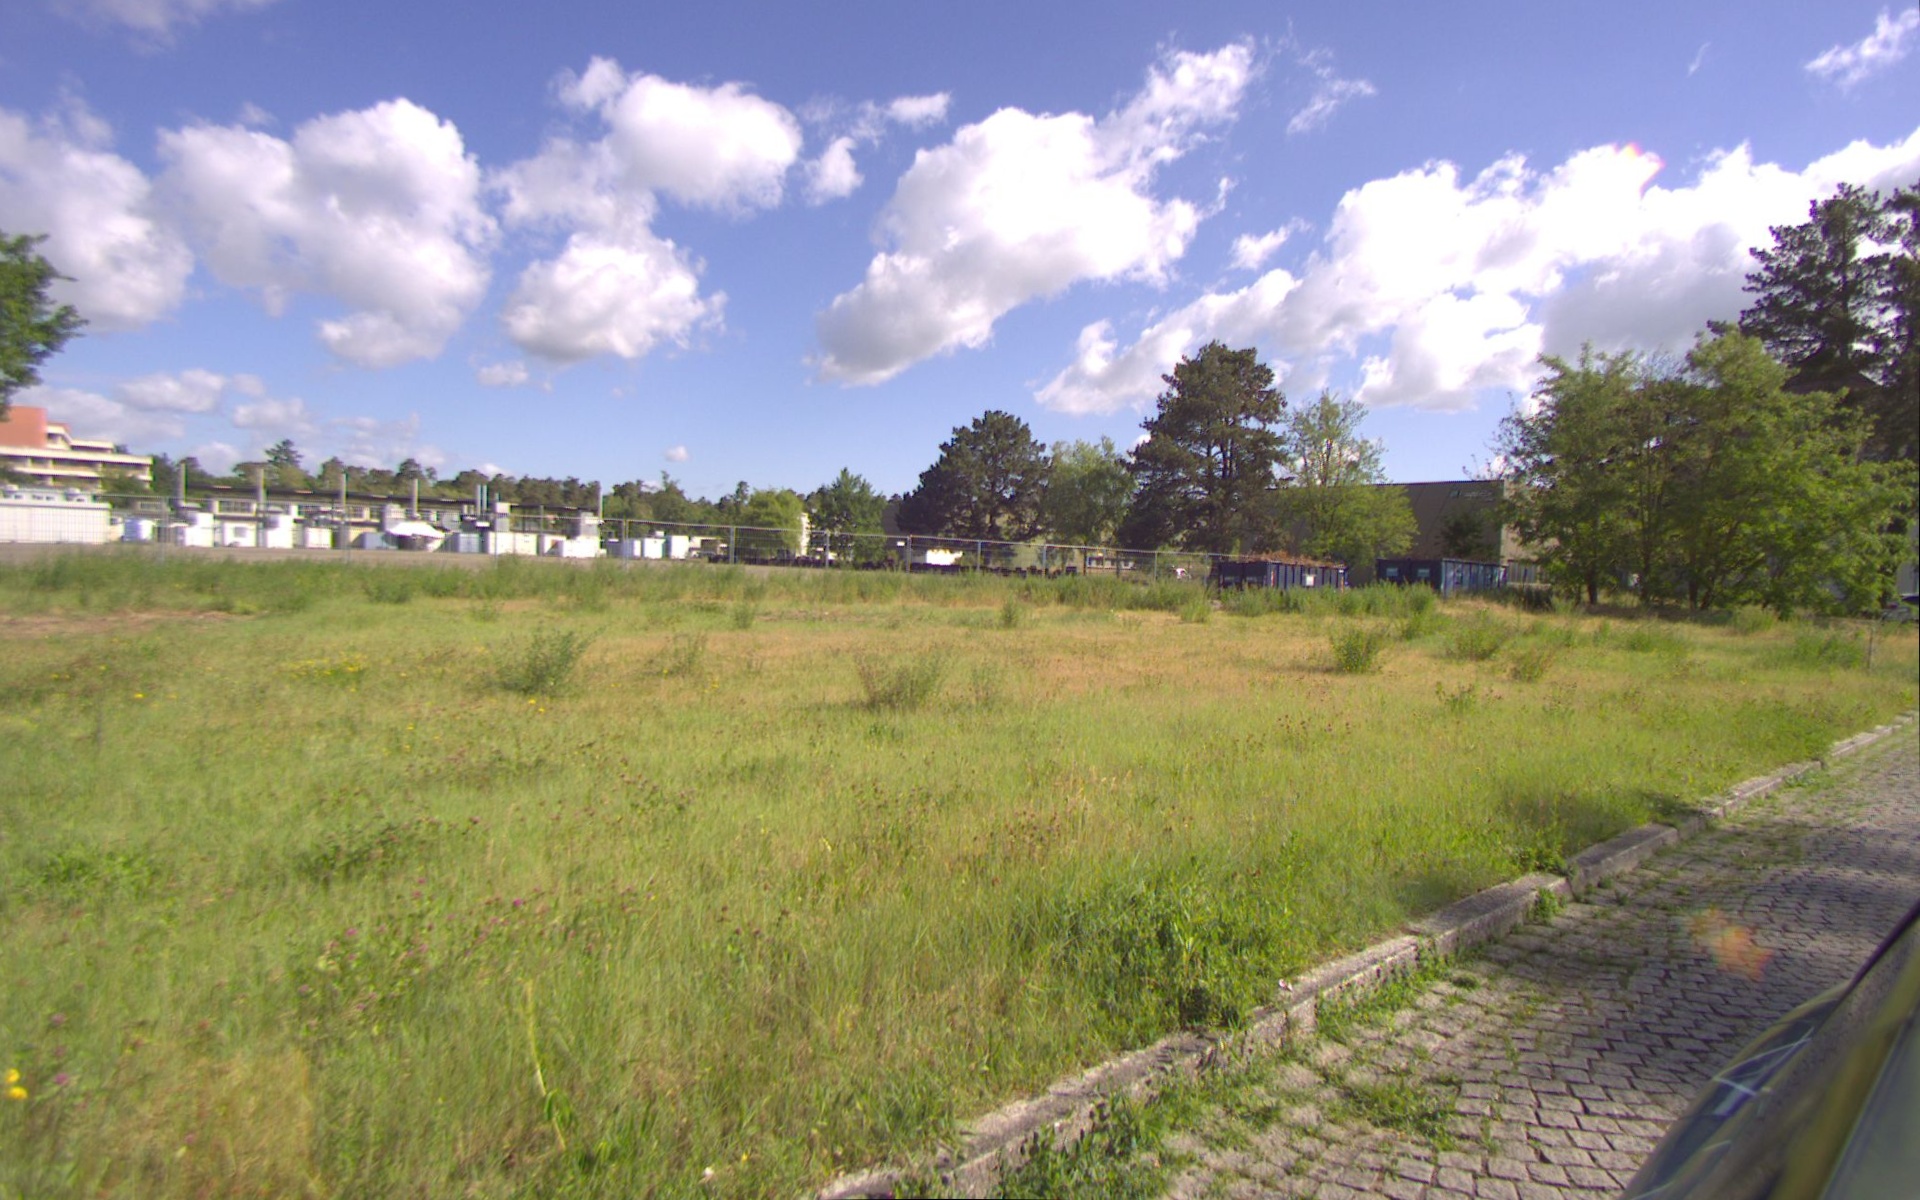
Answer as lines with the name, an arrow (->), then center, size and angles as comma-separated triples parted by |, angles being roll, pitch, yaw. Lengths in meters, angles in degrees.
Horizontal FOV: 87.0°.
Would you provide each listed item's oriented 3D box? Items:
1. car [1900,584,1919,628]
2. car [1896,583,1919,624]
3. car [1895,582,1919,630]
car -> 34.274, 0.398, 33.746 | 1.812, 1.458, 4.015 | 0, 6, -41
car -> 37.886, 0.310, 37.452 | 1.807, 1.482, 4.523 | 0, 6, -42
car -> 32.262, 0.353, 31.947 | 1.721, 1.493, 3.751 | 0, 6, -41
